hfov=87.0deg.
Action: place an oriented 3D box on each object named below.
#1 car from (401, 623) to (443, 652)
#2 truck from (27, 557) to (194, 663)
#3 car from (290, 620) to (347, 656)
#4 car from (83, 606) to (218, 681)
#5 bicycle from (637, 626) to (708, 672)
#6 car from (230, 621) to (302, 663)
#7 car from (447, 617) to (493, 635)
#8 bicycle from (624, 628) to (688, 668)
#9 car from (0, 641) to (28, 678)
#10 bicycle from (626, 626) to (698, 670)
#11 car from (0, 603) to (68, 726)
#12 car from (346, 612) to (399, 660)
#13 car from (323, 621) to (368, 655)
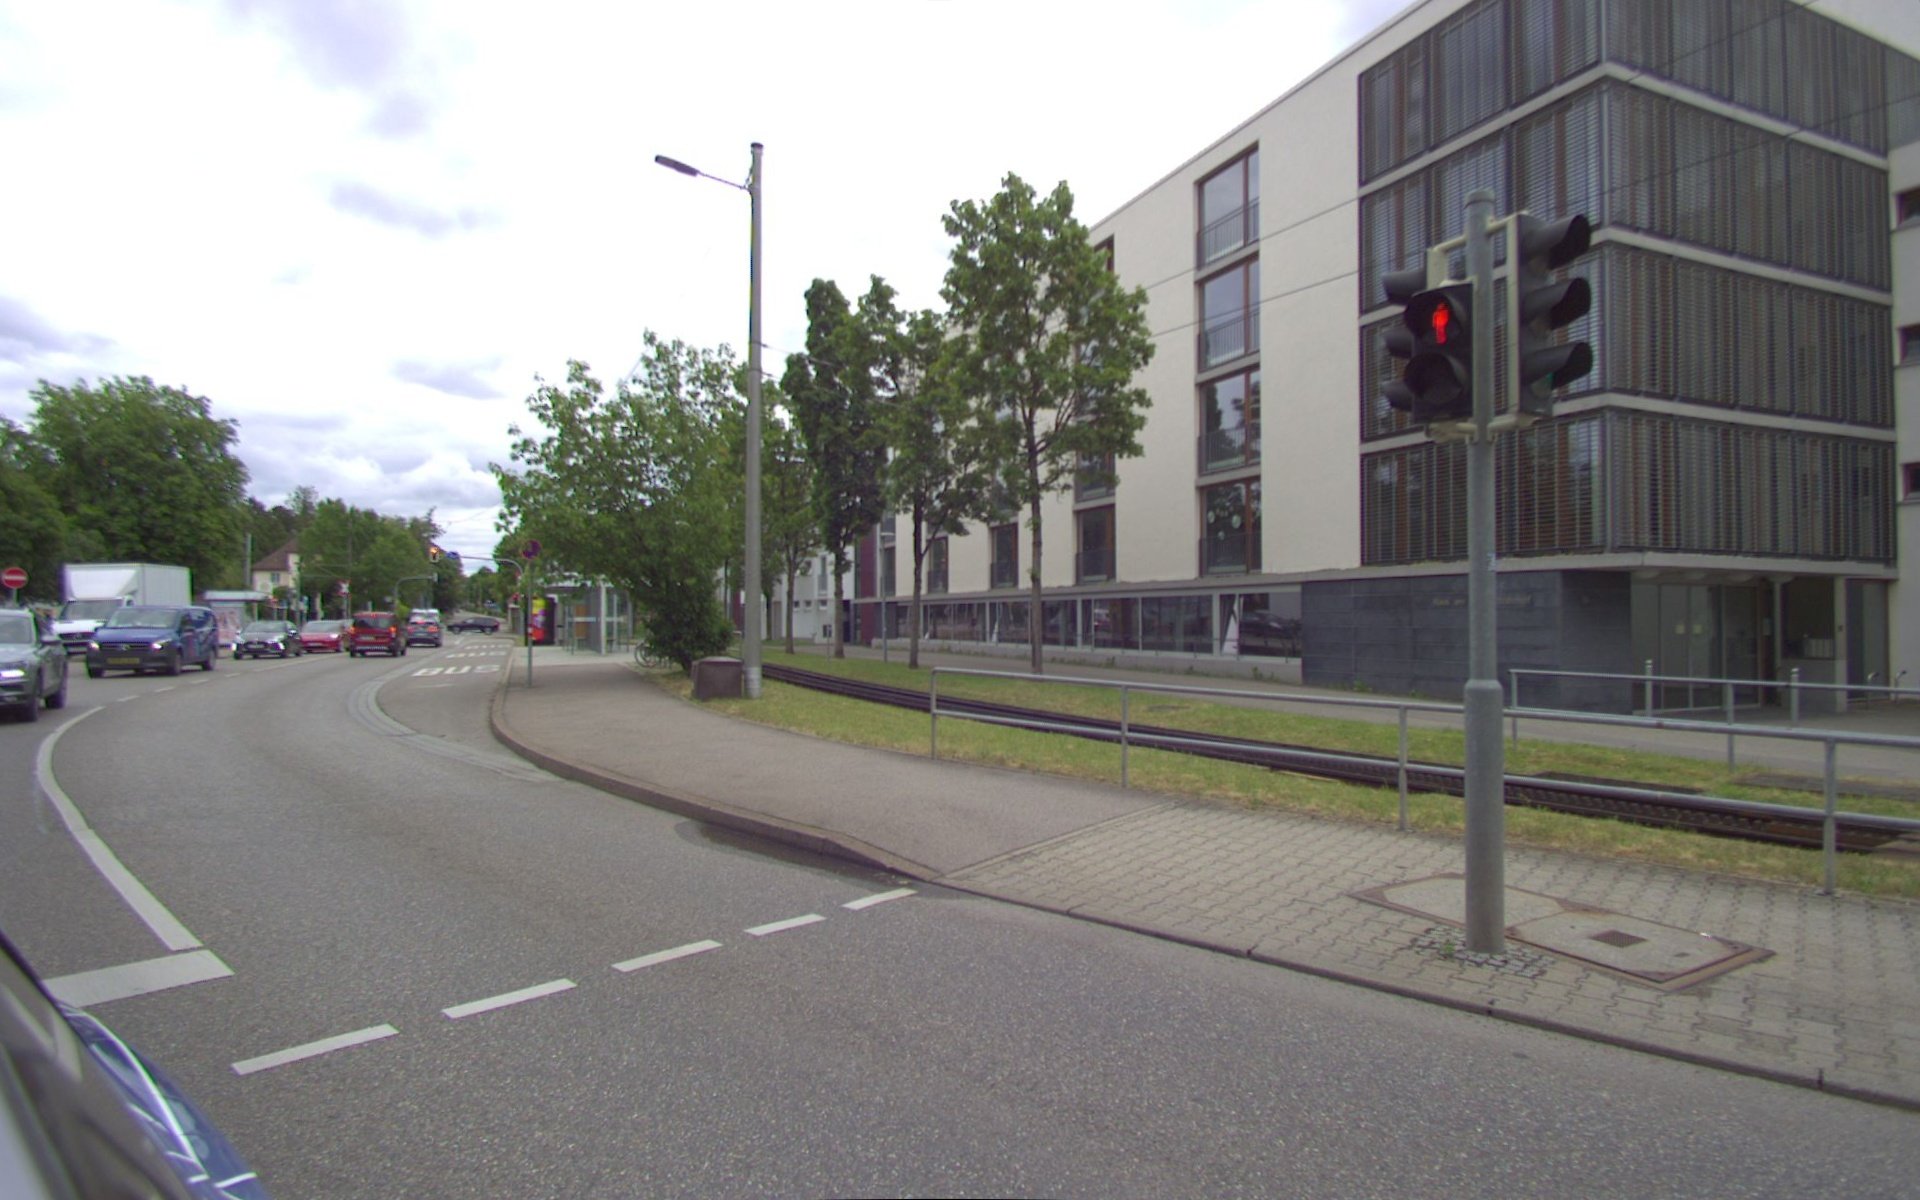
[{"bbox_3d":[-29.820,2.068,56.198,1.743,1.490,4.013,2,-3,-24],"label":"car"},{"bbox_3d":[-30.786,0.388,37.077,2.499,3.452,7.801,0,-1,-23],"label":"truck"},{"bbox_3d":[-28.814,1.700,45.580,1.819,1.546,4.013,1,-2,-28],"label":"car"},{"bbox_3d":[-21.787,1.124,27.419,1.819,1.875,4.013,0,-1,-23],"label":"car"},{"bbox_3d":[-7.319,1.233,25.796,1.682,1.097,0.409,-1,-1,-36],"label":"bicycle"},{"bbox_3d":[-26.904,1.590,39.330,1.819,1.546,4.013,1,-2,-28],"label":"car"},{"bbox_3d":[-47.601,2.490,98.313,3.931,1.719,1.935,0,-1,-27],"label":"car"},{"bbox_3d":[-8.499,1.328,28.287,1.663,1.033,0.397,-2,-1,-22],"label":"bicycle"},{"bbox_3d":[-39.230,2.423,39.503,1.521,1.420,3.953,-1,0,34],"label":"car"},{"bbox_3d":[-7.749,1.232,26.336,1.724,1.054,0.409,-2,-1,-22],"label":"bicycle"},{"bbox_3d":[-14.673,0.908,15.020,1.783,1.660,4.340,1,-2,-37],"label":"car"},{"bbox_3d":[-24.128,1.472,41.649,1.657,1.822,4.365,2,-3,-28],"label":"car"},{"bbox_3d":[-34.627,2.112,57.097,1.819,1.875,4.271,0,-1,-27],"label":"car"}]
